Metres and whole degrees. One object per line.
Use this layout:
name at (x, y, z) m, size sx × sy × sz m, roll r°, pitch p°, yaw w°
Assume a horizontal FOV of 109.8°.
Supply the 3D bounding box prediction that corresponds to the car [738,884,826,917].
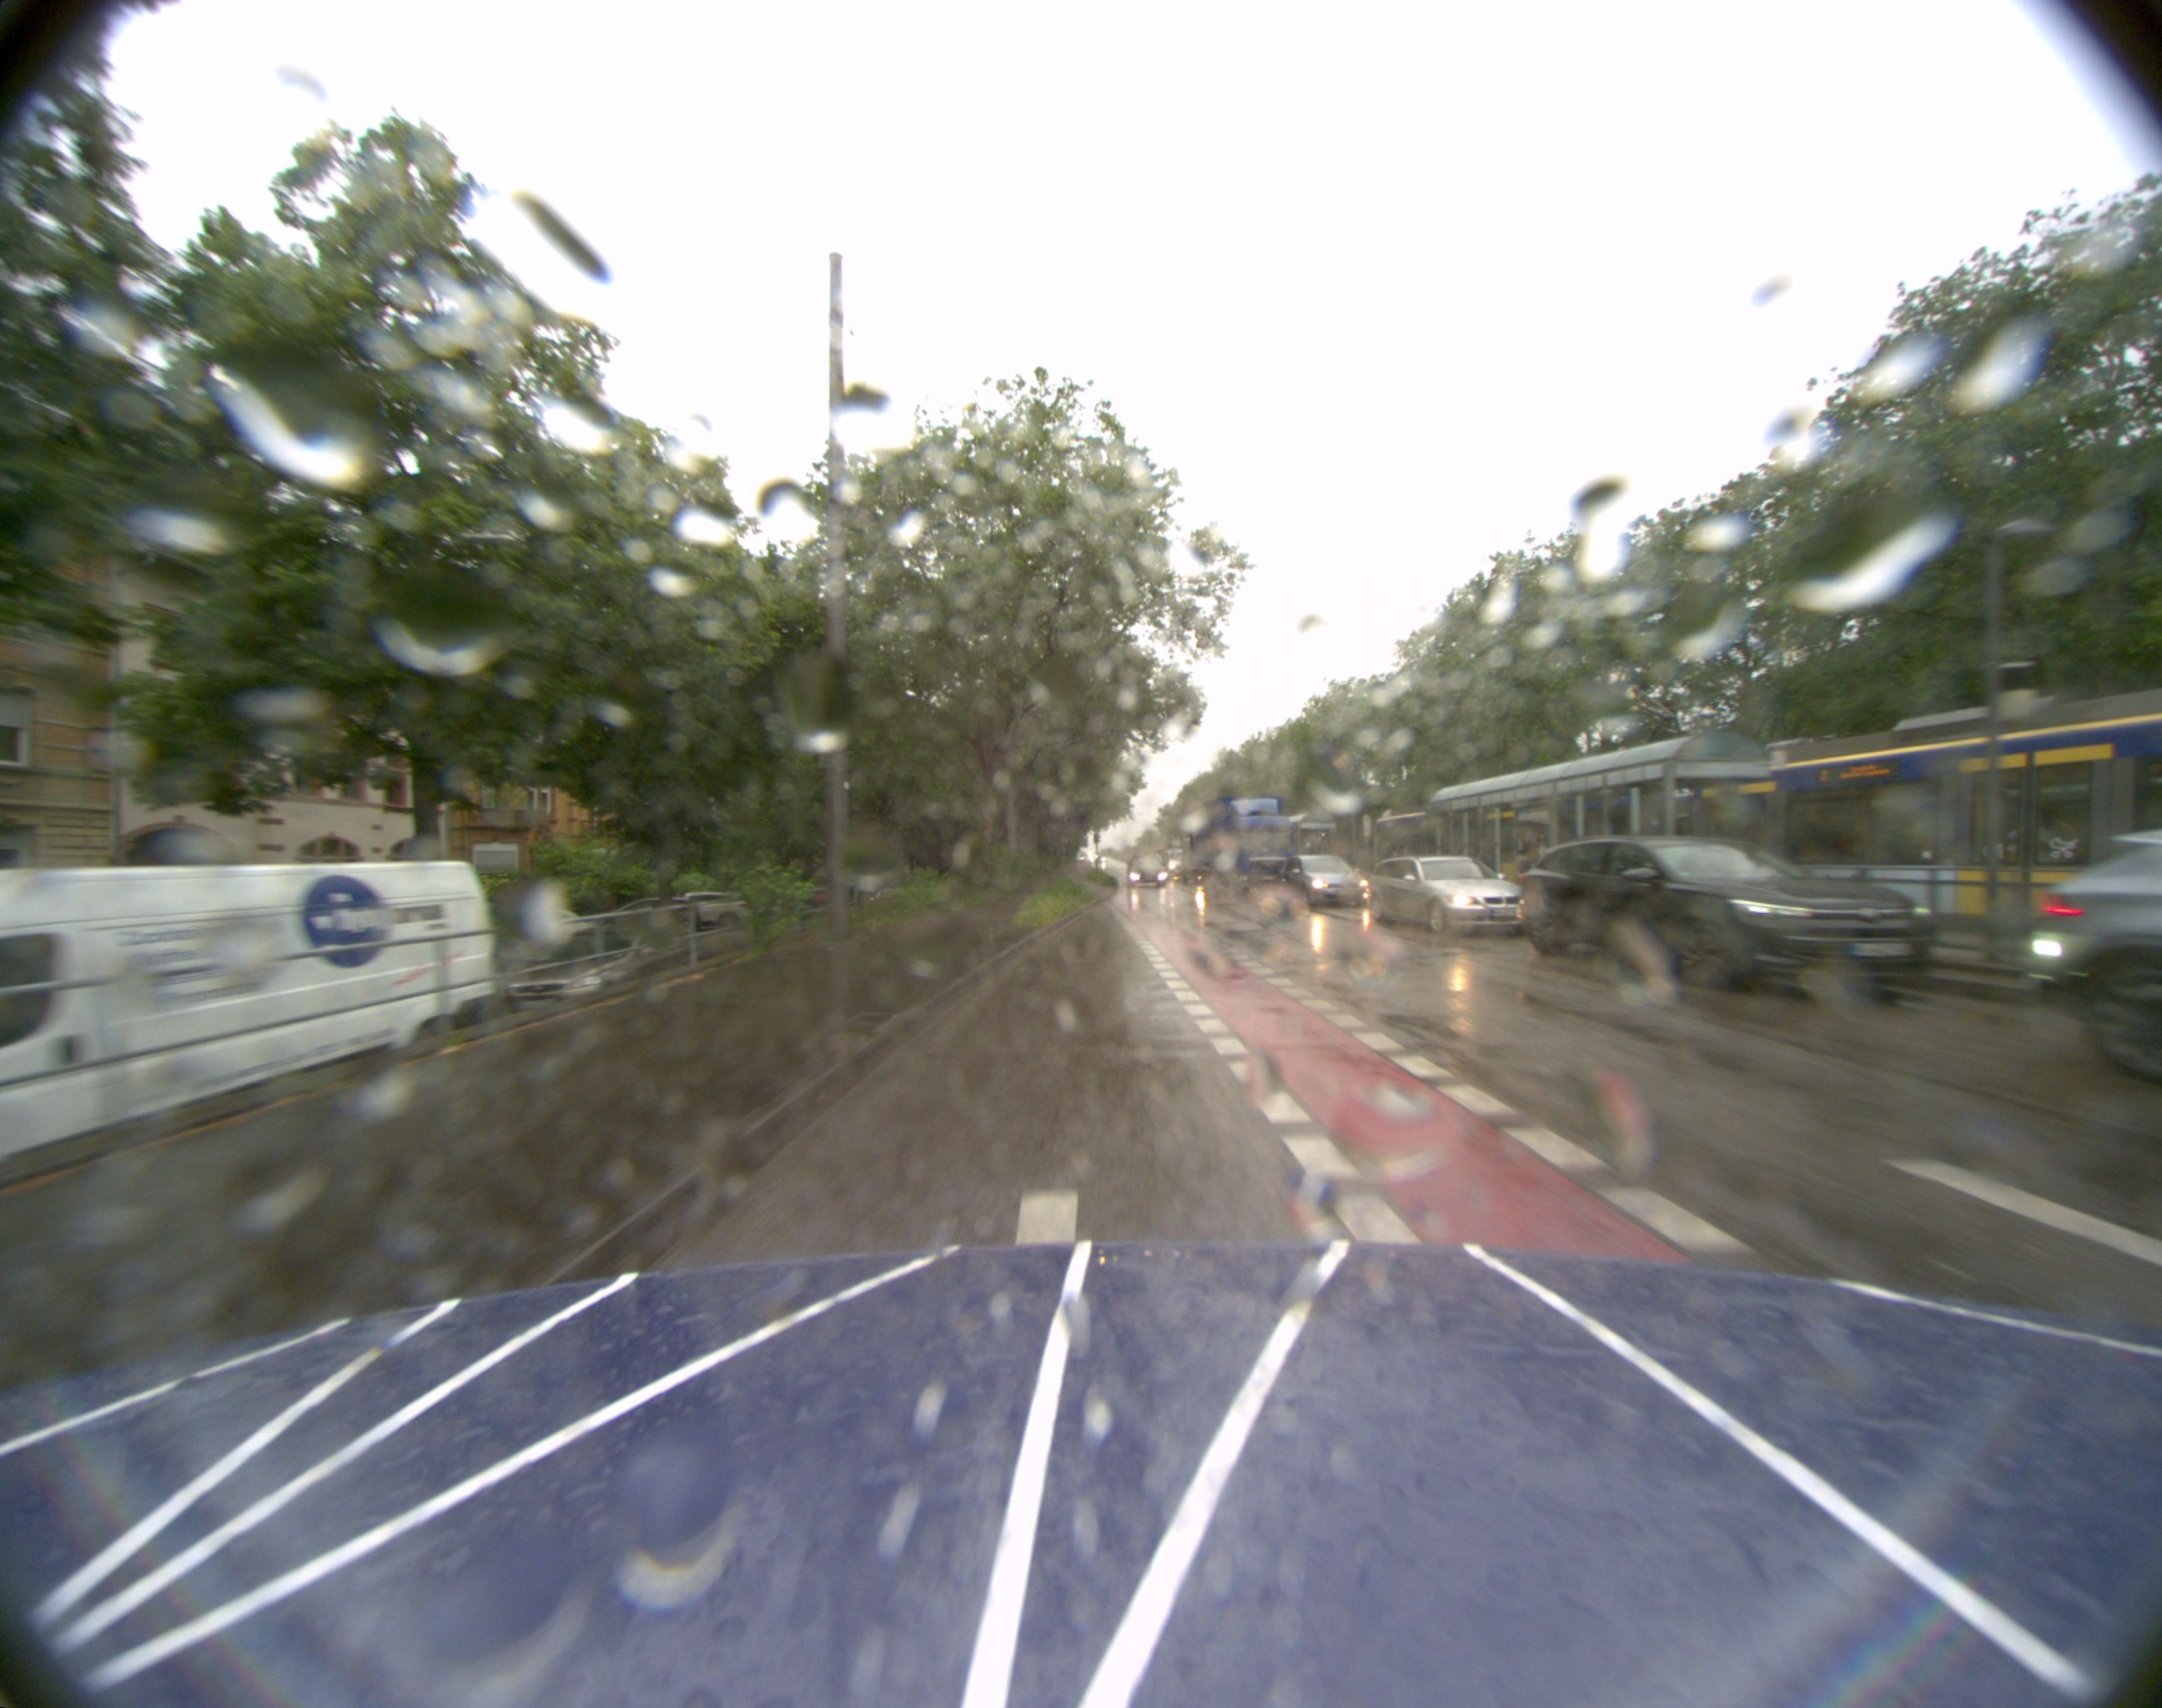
car at (-16.126, 2.478, 41.042) m, size 4.007 × 1.455 × 1.908 m, roll -2°, pitch 0°, yaw -35°

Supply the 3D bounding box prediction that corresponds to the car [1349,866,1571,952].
car at (7.210, 0.967, 15.119) m, size 1.999 × 1.386 × 4.606 m, roll 0°, pitch 0°, yaw -2°

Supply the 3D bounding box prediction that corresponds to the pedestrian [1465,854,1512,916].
pedestrian at (9.536, 0.712, 17.810) m, size 0.634 × 1.410 × 0.750 m, roll -3°, pitch 1°, yaw -1°

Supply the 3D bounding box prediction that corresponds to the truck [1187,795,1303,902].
truck at (6.666, -0.180, 32.537) m, size 2.545 × 3.866 × 9.810 m, roll 1°, pitch 0°, yaw -2°

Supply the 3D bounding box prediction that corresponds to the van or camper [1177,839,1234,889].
van or camper at (6.962, 0.513, 43.169) m, size 1.999 × 2.555 × 6.431 m, roll -3°, pitch 0°, yaw 0°

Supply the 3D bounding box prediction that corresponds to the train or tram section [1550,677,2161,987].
train or tram section at (13.564, -0.315, 11.118) m, size 3.550 × 3.393 × 15.502 m, roll -3°, pitch 0°, yaw -1°

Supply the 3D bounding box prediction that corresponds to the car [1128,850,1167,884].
car at (3.441, 0.660, 39.890) m, size 1.756 × 1.657 × 3.678 m, roll -2°, pitch 0°, yaw 1°

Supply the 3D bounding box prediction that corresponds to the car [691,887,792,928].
car at (-16.019, 2.471, 35.884) m, size 4.007 × 1.557 × 1.995 m, roll -2°, pitch 0°, yaw -35°

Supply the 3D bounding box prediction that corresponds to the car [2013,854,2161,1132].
car at (7.237, 0.815, 2.909) m, size 1.919 × 1.614 × 4.454 m, roll 0°, pitch 0°, yaw 1°

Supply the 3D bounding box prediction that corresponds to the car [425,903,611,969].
car at (-15.924, 2.269, 21.768) m, size 4.005 × 1.496 × 1.655 m, roll -1°, pitch 1°, yaw -25°

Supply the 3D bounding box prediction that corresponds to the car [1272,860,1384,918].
car at (7.176, 0.967, 22.537) m, size 1.895 × 1.478 × 4.077 m, roll -1°, pitch 0°, yaw -2°

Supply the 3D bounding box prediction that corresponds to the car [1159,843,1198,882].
car at (6.580, 0.557, 51.741) m, size 1.998 × 2.412 × 5.727 m, roll -3°, pitch 0°, yaw 2°

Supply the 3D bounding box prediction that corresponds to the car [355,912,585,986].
car at (-15.226, 2.320, 19.276) m, size 4.269 × 1.372 × 1.687 m, roll -1°, pitch 1°, yaw -28°

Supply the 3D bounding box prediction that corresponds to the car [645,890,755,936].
car at (-16.251, 2.452, 32.428) m, size 4.006 × 1.599 × 1.821 m, roll -2°, pitch 0°, yaw -31°

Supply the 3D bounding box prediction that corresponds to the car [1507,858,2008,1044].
car at (7.287, 0.877, 8.967) m, size 1.999 × 1.611 × 4.319 m, roll -1°, pitch 0°, yaw -2°

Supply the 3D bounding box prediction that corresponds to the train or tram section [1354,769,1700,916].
train or tram section at (13.496, -0.298, 25.626) m, size 3.522 × 3.492 × 13.658 m, roll -3°, pitch 0°, yaw 0°

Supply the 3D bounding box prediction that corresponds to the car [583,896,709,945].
car at (-16.523, 2.479, 28.992) m, size 4.006 × 1.455 × 1.995 m, roll -2°, pitch 0°, yaw -31°

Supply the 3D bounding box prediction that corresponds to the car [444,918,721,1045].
car at (-8.104, 1.989, 12.986) m, size 1.972 × 1.345 × 4.383 m, roll -3°, pitch 0°, yaw -3°

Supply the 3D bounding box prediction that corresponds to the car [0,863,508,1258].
car at (-7.911, 1.357, 5.965) m, size 2.215 × 2.406 × 6.157 m, roll -3°, pitch 0°, yaw -2°

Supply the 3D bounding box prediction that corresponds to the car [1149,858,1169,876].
car at (6.172, 0.977, 59.862) m, size 1.466 × 1.265 × 3.617 m, roll -3°, pitch 0°, yaw 7°
